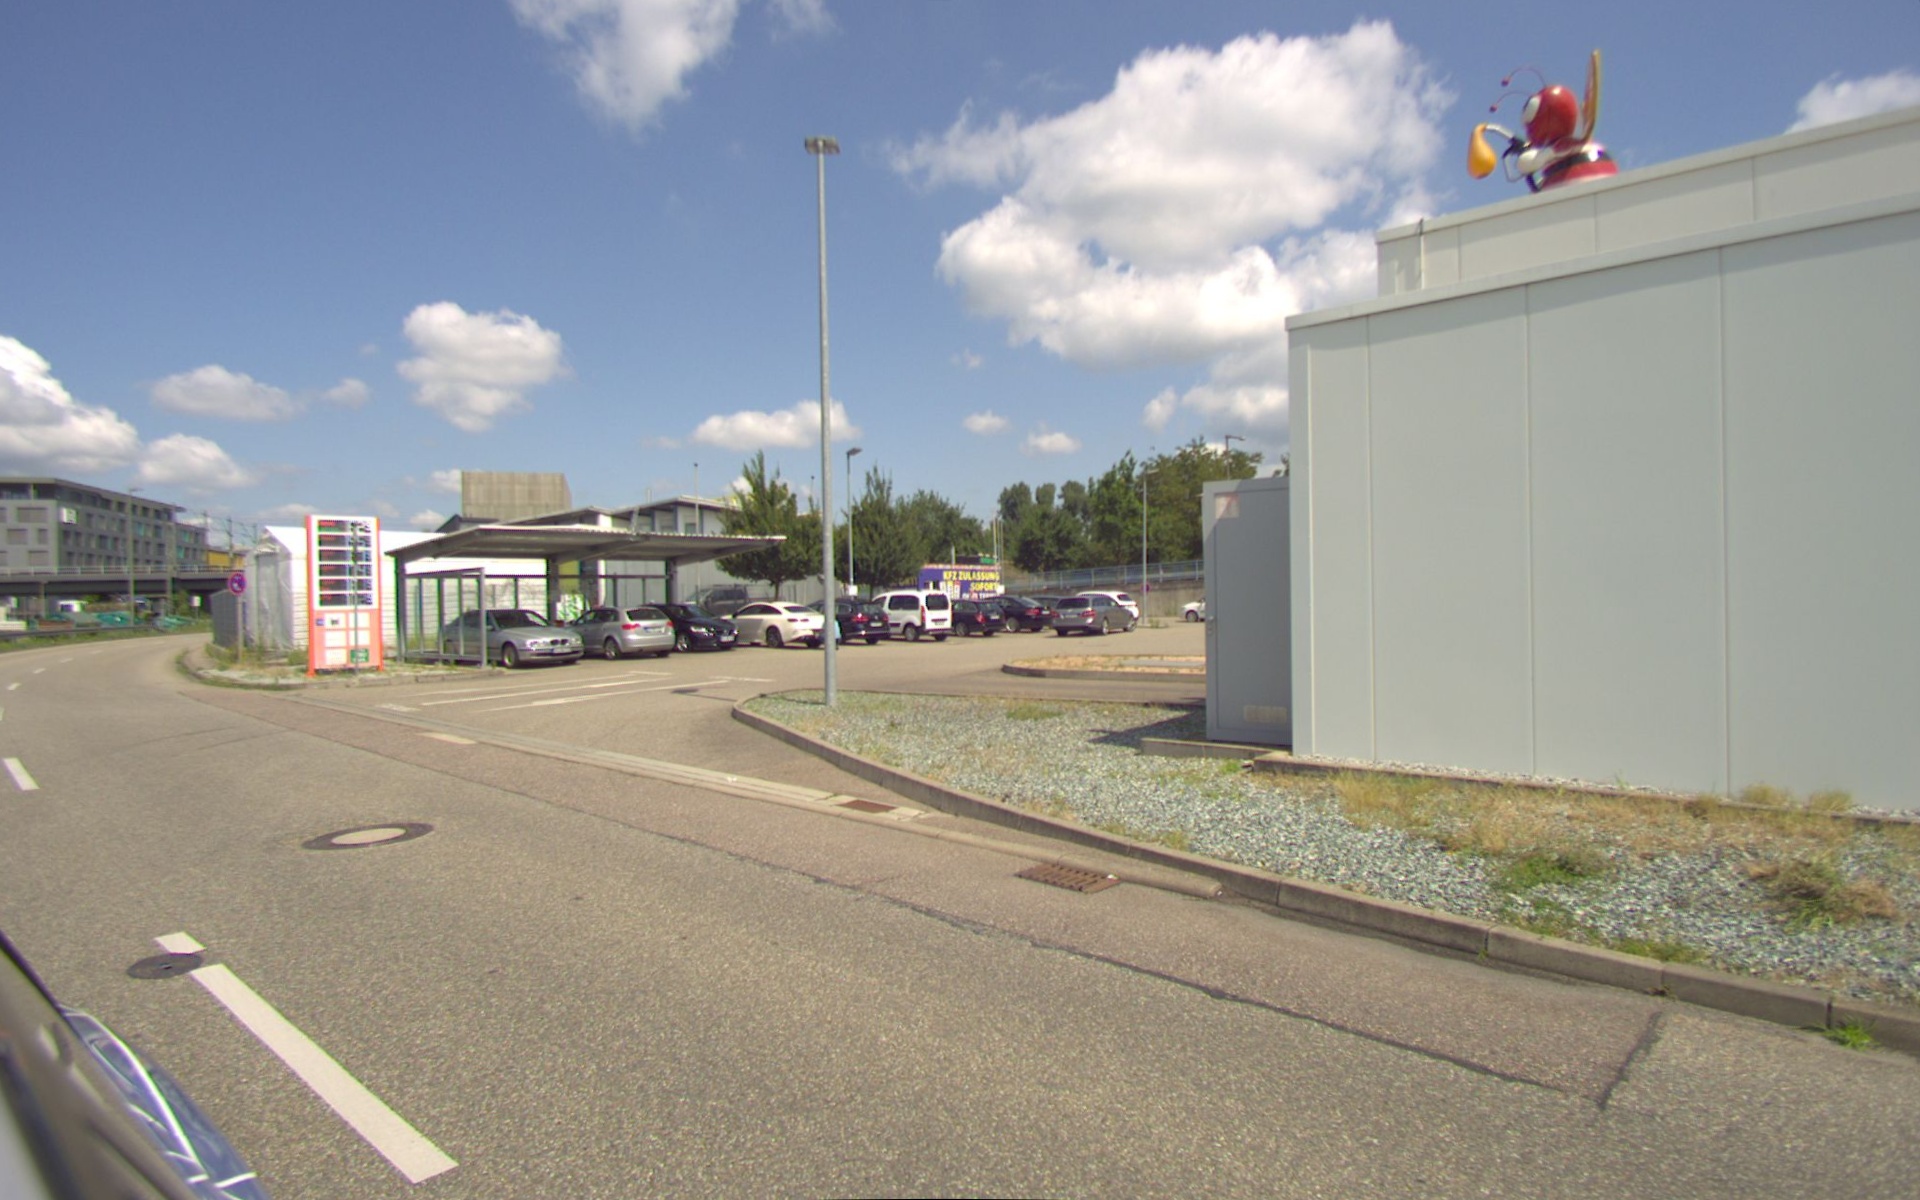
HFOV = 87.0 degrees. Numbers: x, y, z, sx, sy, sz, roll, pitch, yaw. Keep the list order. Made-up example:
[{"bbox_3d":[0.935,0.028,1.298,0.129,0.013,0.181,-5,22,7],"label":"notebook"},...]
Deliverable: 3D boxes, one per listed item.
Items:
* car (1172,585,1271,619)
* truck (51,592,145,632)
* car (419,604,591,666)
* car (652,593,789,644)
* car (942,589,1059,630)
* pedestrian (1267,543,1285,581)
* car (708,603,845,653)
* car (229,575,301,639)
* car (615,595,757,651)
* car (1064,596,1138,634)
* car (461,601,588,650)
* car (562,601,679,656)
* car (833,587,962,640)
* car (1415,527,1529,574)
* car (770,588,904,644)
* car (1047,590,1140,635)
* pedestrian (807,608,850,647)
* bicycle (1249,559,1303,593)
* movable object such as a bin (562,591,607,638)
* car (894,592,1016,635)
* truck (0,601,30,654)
[{"bbox_3d":[12.878,0.121,49.912,4.303,1.615,1.976,-1,-1,35],"label":"car"},{"bbox_3d":[-69.695,0.972,81.921,5.419,3.121,2.006,0,-1,-19],"label":"truck"},{"bbox_3d":[-11.659,0.845,25.827,4.782,1.388,1.900,-1,1,36],"label":"car"},{"bbox_3d":[-10.170,0.756,43.355,1.999,2.029,5.623,-1,-1,41],"label":"car"},{"bbox_3d":[1.624,0.384,41.858,4.593,1.610,1.974,-1,-1,39],"label":"car"},{"bbox_3d":[16.931,-2.018,54.198,0.765,2.009,0.585,-1,-1,30],"label":"pedestrian"},{"bbox_3d":[-5.780,0.849,31.572,4.311,1.448,1.871,-1,-1,39],"label":"car"},{"bbox_3d":[-30.338,0.338,44.058,2.092,2.556,6.729,0,-1,-39],"label":"car"},{"bbox_3d":[-8.177,0.670,30.021,4.247,1.509,1.974,-2,0,39],"label":"car"},{"bbox_3d":[6.377,0.671,45.917,3.121,1.637,1.255,-1,-1,39],"label":"car"},{"bbox_3d":[-17.286,0.996,40.403,4.343,1.846,2.005,-1,0,-11],"label":"car"},{"bbox_3d":[-9.164,0.733,27.243,3.052,1.355,1.578,-1,1,39],"label":"car"},{"bbox_3d":[-2.311,0.483,36.854,4.593,1.791,1.974,-1,-1,39],"label":"car"},{"bbox_3d":[28.472,-2.718,56.470,5.532,2.274,1.982,-2,1,27],"label":"car"},{"bbox_3d":[-4.230,0.532,34.370,4.596,1.780,1.973,-1,-1,42],"label":"car"},{"bbox_3d":[5.049,0.429,37.784,1.915,1.500,4.486,-2,0,29],"label":"car"},{"bbox_3d":[-3.897,0.809,29.930,0.997,1.134,0.800,-1,-1,39],"label":"pedestrian"},{"bbox_3d":[16.903,-1.287,54.220,2.682,1.763,0.530,-1,-1,31],"label":"bicycle"},{"bbox_3d":[-17.967,0.663,48.511,1.610,2.121,2.382,-3,0,-12],"label":"movable object such as a bin"},{"bbox_3d":[-0.238,0.512,39.385,4.593,1.564,1.974,-1,-1,39],"label":"car"},{"bbox_3d":[-64.634,1.810,67.134,8.101,3.445,2.958,-1,-1,37],"label":"truck"}]
